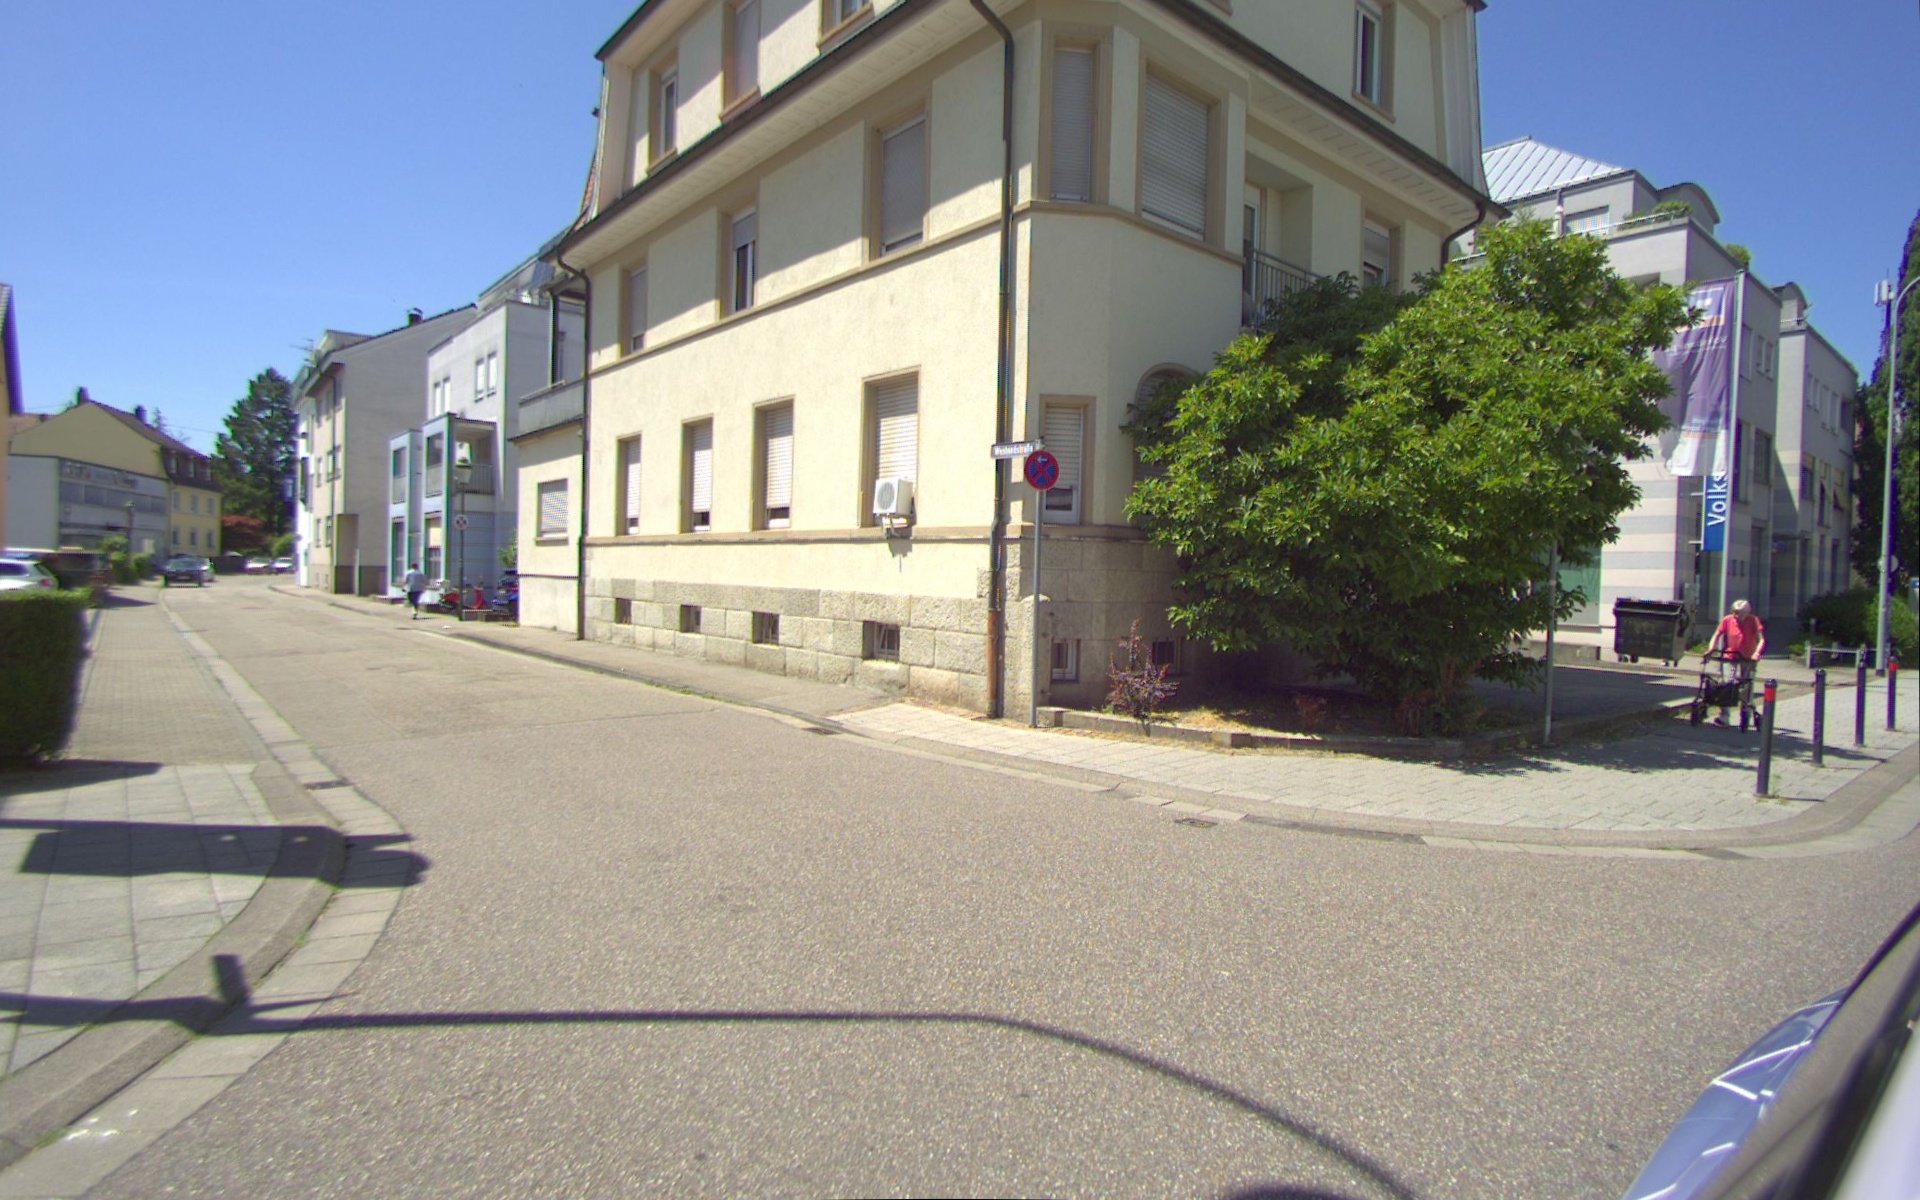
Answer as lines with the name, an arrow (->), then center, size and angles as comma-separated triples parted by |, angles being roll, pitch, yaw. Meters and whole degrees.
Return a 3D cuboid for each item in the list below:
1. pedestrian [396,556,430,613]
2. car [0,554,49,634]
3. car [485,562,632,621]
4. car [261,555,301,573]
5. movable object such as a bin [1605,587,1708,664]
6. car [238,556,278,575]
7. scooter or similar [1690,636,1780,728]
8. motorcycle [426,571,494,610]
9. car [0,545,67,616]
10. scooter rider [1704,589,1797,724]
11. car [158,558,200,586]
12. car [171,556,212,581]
pedestrian -> -15.967, -0.460, 29.542 | 0.705, 1.647, 0.684 | 1, 1, -40
car -> -19.512, -0.152, 18.250 | 4.507, 1.480, 1.997 | 1, 1, -41
car -> -10.888, -0.214, 27.592 | 1.609, 1.495, 3.381 | 0, -1, 38
car -> -62.408, -3.280, 93.066 | 1.958, 1.518, 4.452 | 1, 1, -20
movable object such as a bin -> 14.848, 0.522, 21.579 | 1.355, 1.476, 1.372 | 1, 4, -38
car -> -59.694, -2.941, 86.126 | 1.958, 1.518, 4.596 | 1, 1, -25
scooter or similar -> 9.199, 0.951, 12.011 | 0.740, 0.975, 0.665 | 1, 2, -40
motorcycle -> -15.817, -0.309, 32.022 | 0.735, 1.175, 1.775 | -1, 1, 44
car -> -23.964, -0.497, 24.286 | 1.694, 1.707, 3.711 | 2, 1, 45
scooter rider -> 9.717, 0.665, 12.442 | 0.757, 1.568, 0.717 | 1, 2, -42
car -> -43.665, -1.574, 56.618 | 1.788, 1.518, 3.886 | 1, 1, -38
car -> -49.432, -1.999, 65.164 | 1.819, 1.518, 4.073 | 1, 1, -33
